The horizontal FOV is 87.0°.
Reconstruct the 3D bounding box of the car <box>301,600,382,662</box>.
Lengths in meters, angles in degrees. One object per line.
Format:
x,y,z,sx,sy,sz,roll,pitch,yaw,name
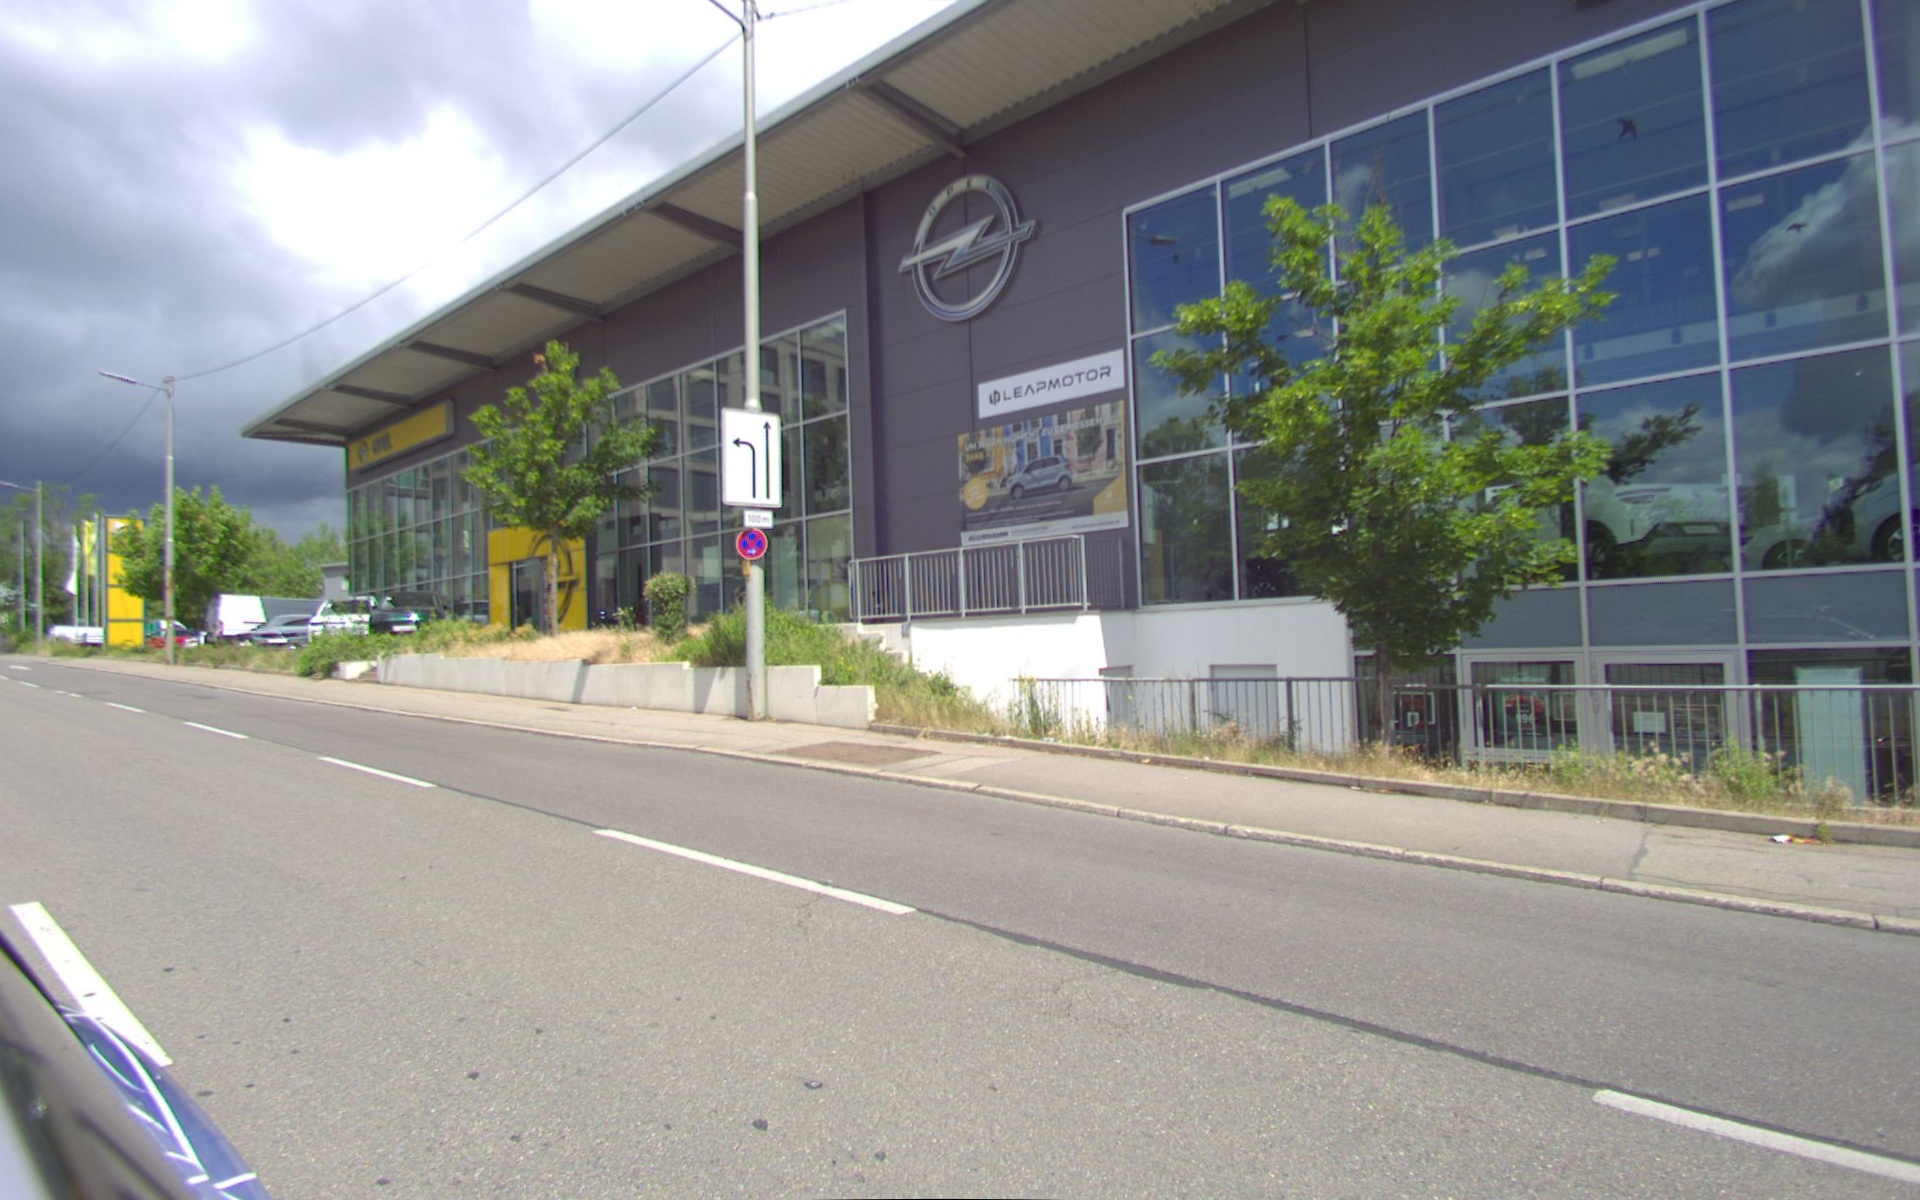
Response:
-19.216,0.946,31.592,1.966,1.807,4.012,1,-2,-29,car

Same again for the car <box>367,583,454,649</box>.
-15.690,0.471,28.804,1.966,1.741,4.011,1,-2,-31,car

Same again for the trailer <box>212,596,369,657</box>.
-27.428,1.084,41.607,1.998,2.367,5.011,-1,-2,39,trailer

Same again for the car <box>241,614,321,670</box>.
-23.481,1.406,35.154,1.966,1.807,4.012,1,-1,-29,car
